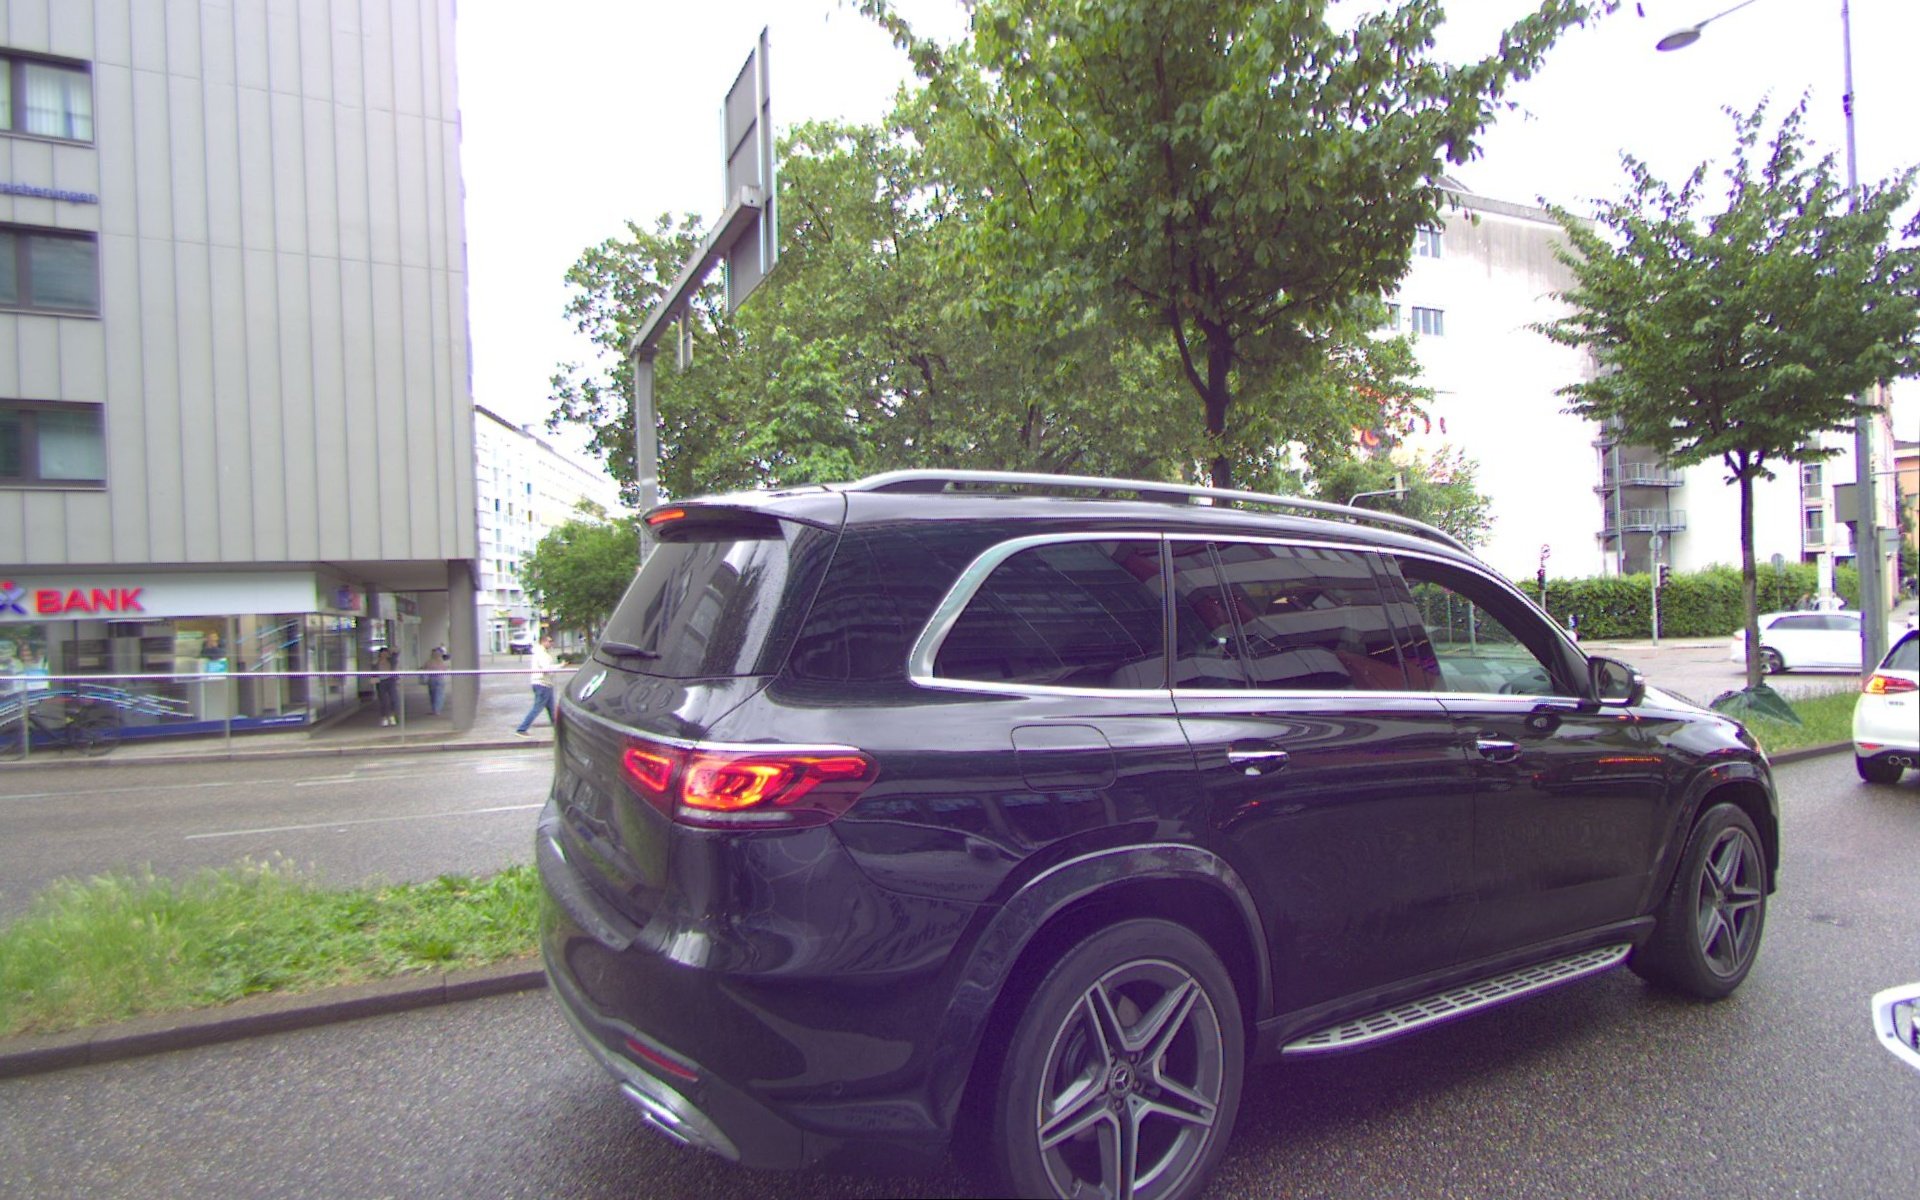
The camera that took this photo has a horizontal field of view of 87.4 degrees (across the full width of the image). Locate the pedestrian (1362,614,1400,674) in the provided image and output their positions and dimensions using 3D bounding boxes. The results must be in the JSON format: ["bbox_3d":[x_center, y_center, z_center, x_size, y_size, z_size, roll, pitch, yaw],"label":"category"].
[{"bbox_3d":[12.020,1.243,28.675,0.620,1.684,0.749,-2,0,-30],"label":"pedestrian"}]

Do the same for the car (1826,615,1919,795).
[{"bbox_3d":[9.557,0.877,8.983,3.801,1.448,1.767,0,0,-33],"label":"car"}]

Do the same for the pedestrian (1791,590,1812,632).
[{"bbox_3d":[36.062,0.473,43.035,0.559,1.771,0.535,2,-1,-35],"label":"pedestrian"}]

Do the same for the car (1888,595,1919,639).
[{"bbox_3d":[34.102,0.565,35.171,3.571,1.506,1.565,0,1,-33],"label":"car"}]

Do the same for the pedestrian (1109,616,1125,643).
[{"bbox_3d":[9.869,1.873,63.069,0.723,1.664,0.635,2,0,-23],"label":"pedestrian"}]

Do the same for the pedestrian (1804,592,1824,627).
[{"bbox_3d":[39.954,0.443,46.977,0.522,1.620,0.576,2,-1,-36],"label":"pedestrian"}]

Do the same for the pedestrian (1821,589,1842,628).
[{"bbox_3d":[40.630,0.392,46.834,0.651,1.751,0.591,2,-1,-38],"label":"pedestrian"}]

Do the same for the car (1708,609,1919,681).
[{"bbox_3d":[20.129,0.985,23.287,1.627,1.506,4.251,0,1,-43],"label":"car"}]

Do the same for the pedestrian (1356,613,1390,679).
[{"bbox_3d":[10.804,1.204,26.290,0.572,1.684,0.554,-2,0,-30],"label":"pedestrian"}]

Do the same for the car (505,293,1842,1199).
[{"bbox_3d":[1.146,0.520,3.815,5.016,1.895,1.901,3,-1,-31],"label":"car"}]

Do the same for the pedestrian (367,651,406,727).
[{"bbox_3d":[-13.100,2.021,22.931,0.630,1.659,0.782,2,-1,-37],"label":"pedestrian"}]

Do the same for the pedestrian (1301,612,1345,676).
[{"bbox_3d":[10.553,1.282,29.187,0.702,1.807,0.917,2,-1,-35],"label":"pedestrian"}]

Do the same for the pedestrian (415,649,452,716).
[{"bbox_3d":[-13.782,2.137,26.296,0.719,1.719,0.782,2,-3,-37],"label":"pedestrian"}]

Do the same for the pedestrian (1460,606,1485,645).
[{"bbox_3d":[22.650,1.123,44.407,0.633,1.664,0.726,2,-1,-37],"label":"pedestrian"}]

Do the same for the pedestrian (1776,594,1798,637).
[{"bbox_3d":[34.621,0.648,42.033,0.741,1.771,0.535,2,-1,-38],"label":"pedestrian"}]

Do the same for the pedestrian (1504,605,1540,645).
[{"bbox_3d":[23.192,1.030,41.471,0.677,1.599,1.055,2,-1,-34],"label":"pedestrian"}]
